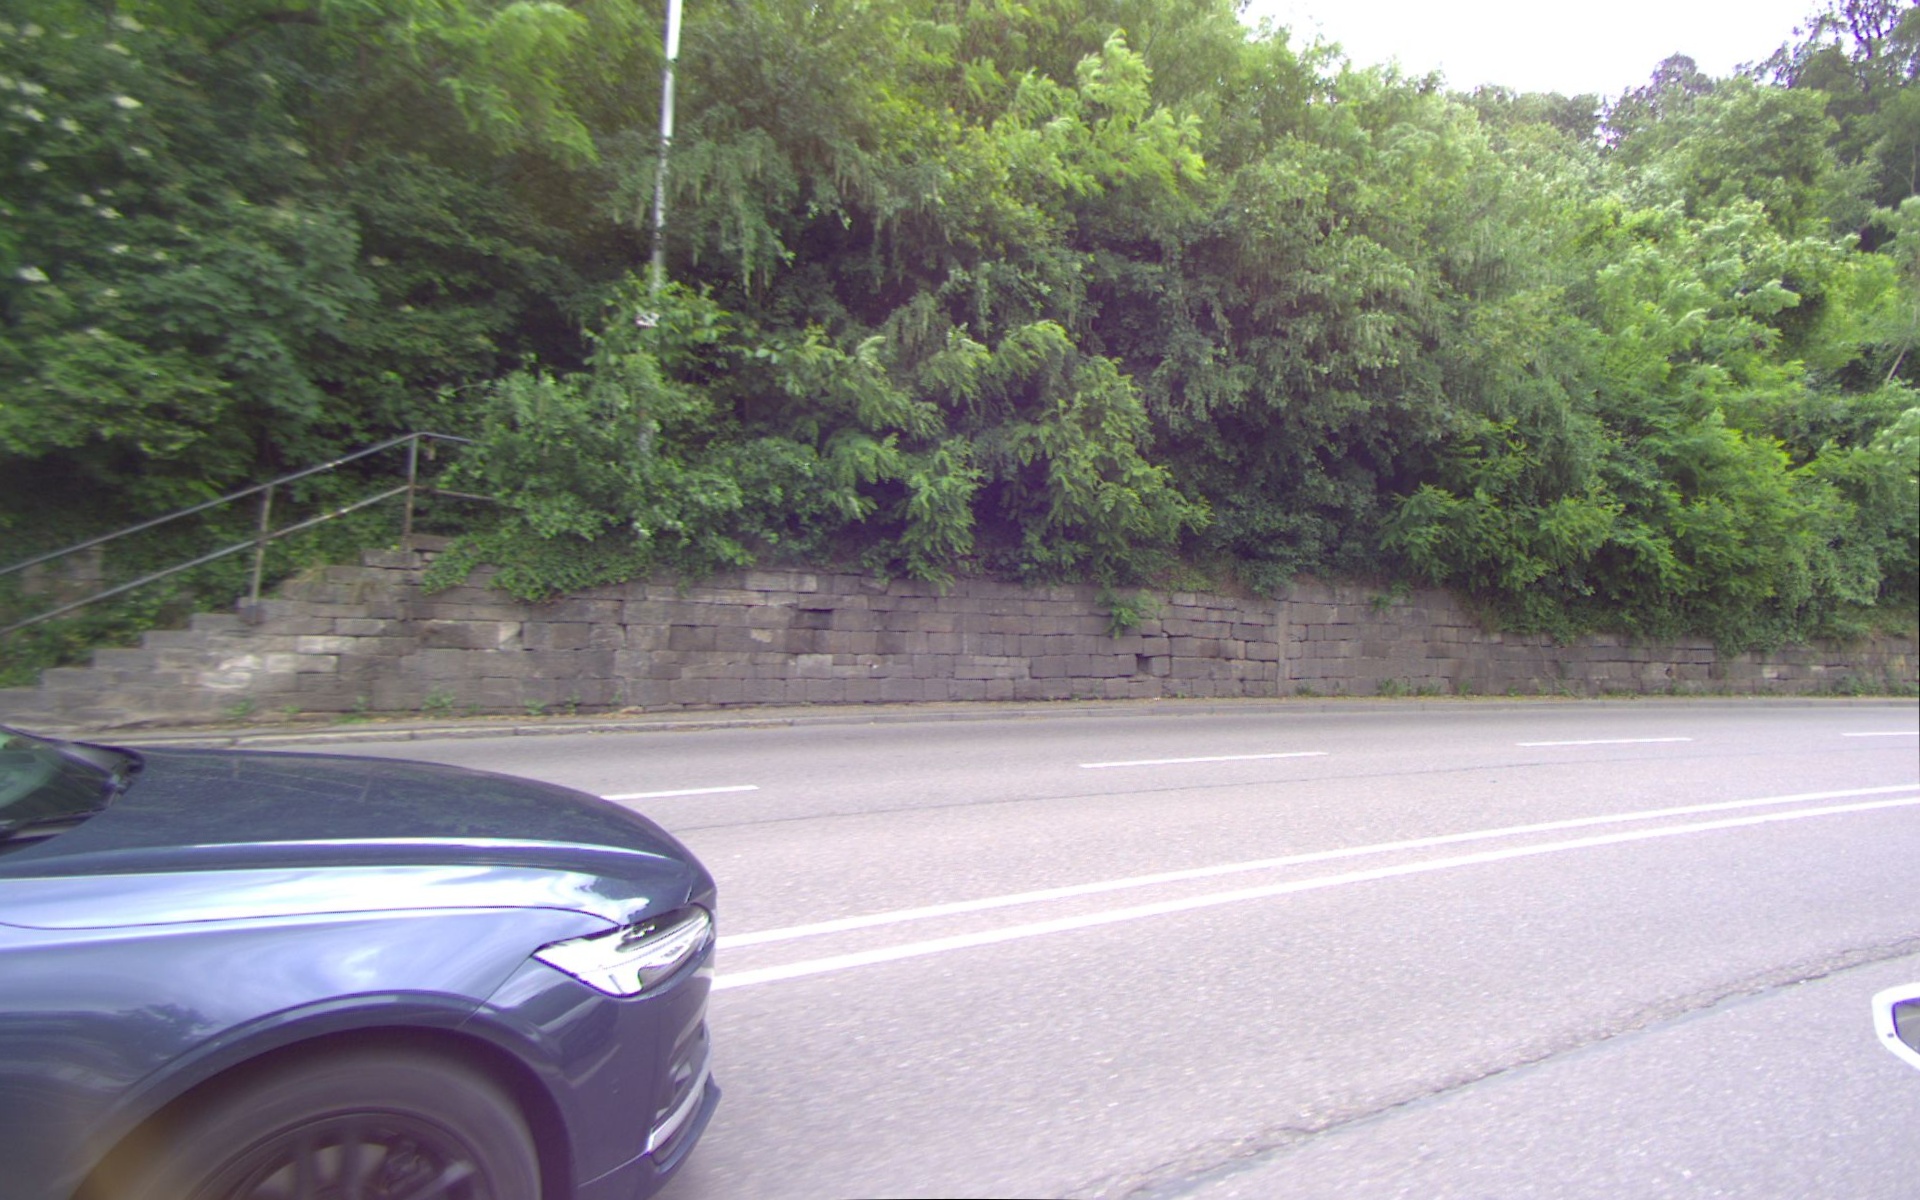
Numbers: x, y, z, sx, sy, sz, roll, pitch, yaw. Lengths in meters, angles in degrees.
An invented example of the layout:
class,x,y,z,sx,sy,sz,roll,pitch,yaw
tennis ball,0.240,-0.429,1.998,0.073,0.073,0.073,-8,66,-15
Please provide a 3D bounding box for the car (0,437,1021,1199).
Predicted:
class,x,y,z,sx,sy,sz,roll,pitch,yaw
car,-2.495,0.510,1.620,4.975,1.597,1.923,3,0,-34
